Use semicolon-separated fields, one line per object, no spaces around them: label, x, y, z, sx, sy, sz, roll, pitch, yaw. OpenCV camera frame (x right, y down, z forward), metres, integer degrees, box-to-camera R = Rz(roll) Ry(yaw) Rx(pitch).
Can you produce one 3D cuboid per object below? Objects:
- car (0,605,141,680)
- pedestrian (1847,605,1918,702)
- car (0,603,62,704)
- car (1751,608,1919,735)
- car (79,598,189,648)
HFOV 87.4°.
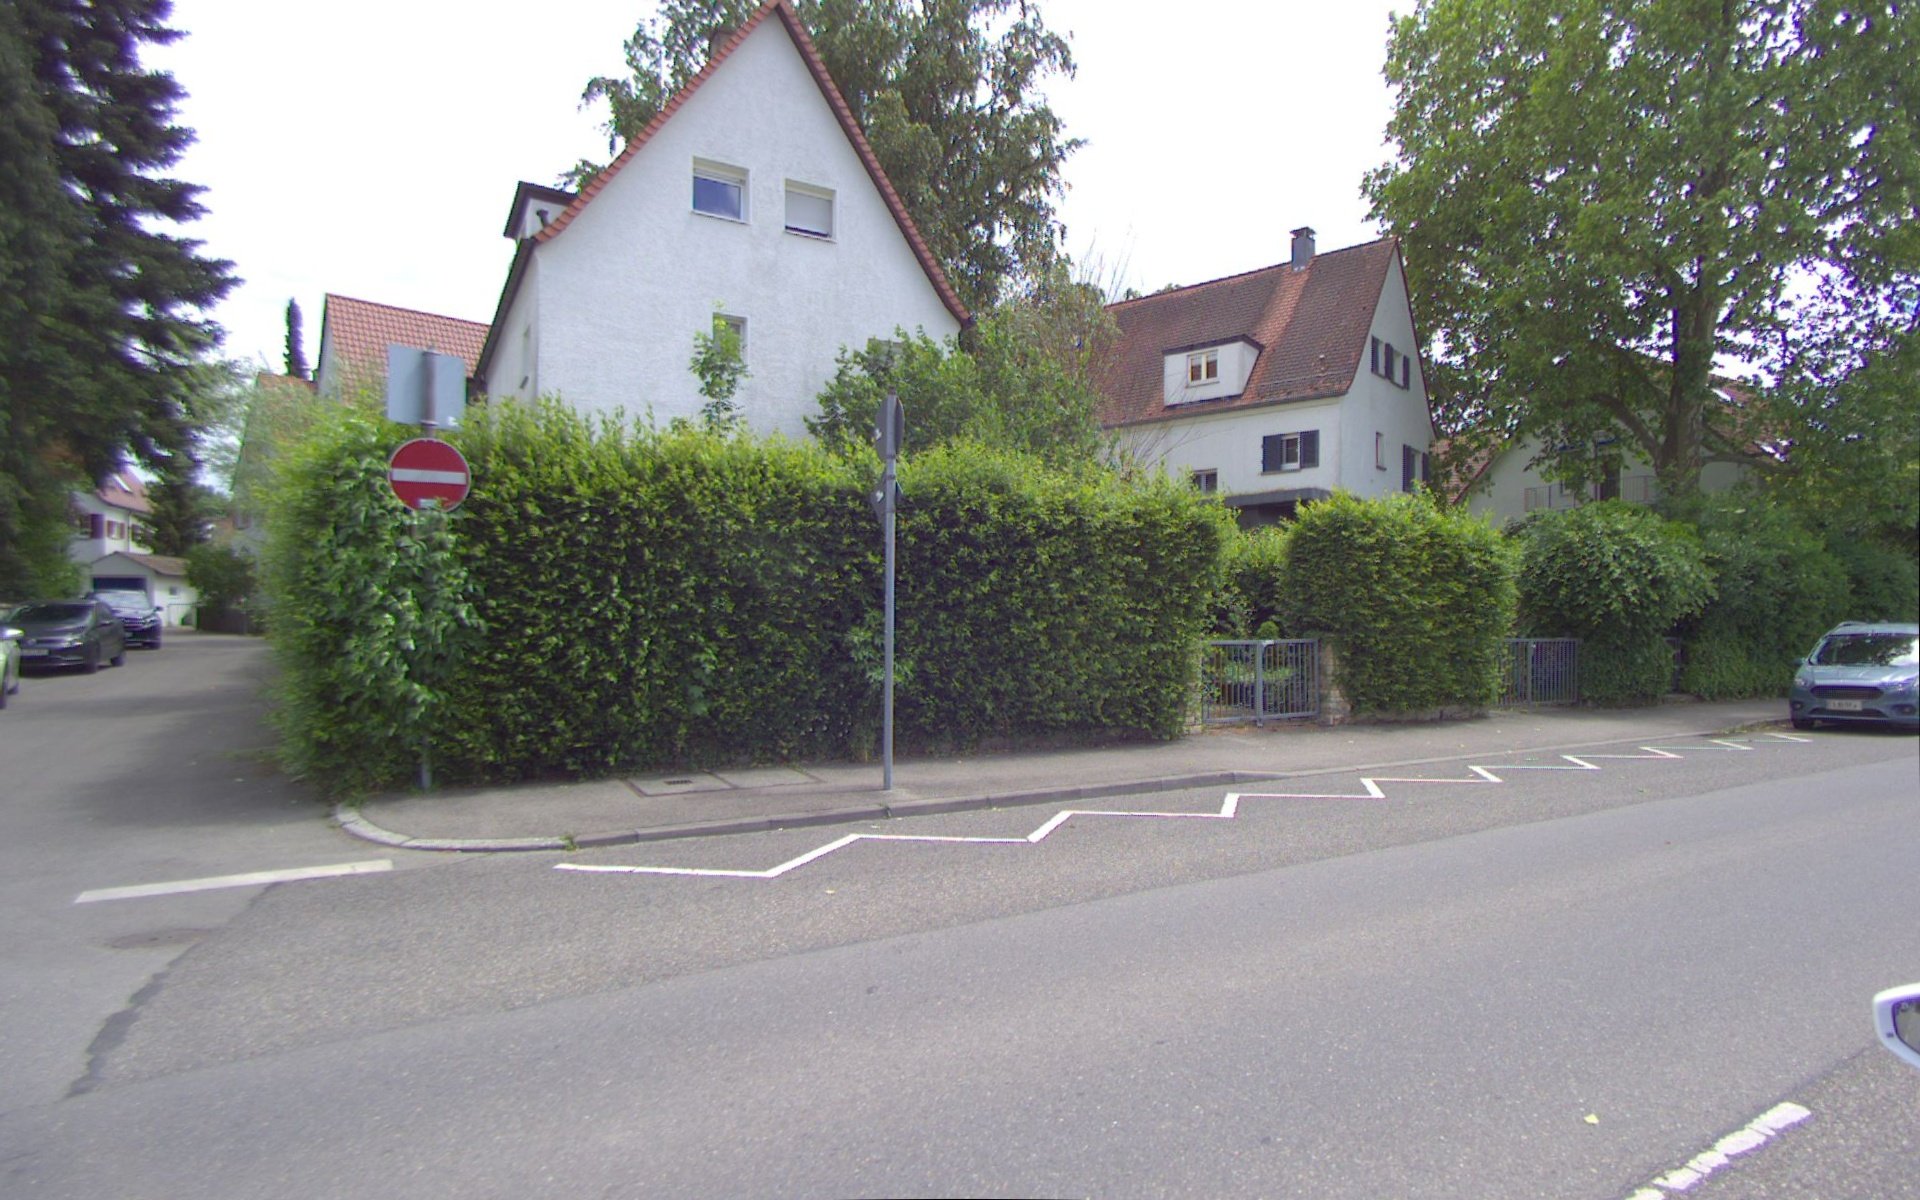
car;-18.480;0.835;20.615;1.977;1.389;3.967;0;-1;-31
pedestrian;20.012;1.156;21.791;1.030;2.040;0.866;1;-2;-34
car;-14.664;0.746;14.355;1.977;1.389;3.967;0;-1;-31
car;15.128;1.067;16.665;4.423;1.796;2.116;0;1;-37
car;-24.894;0.686;30.426;1.977;1.389;3.967;0;-1;-31
